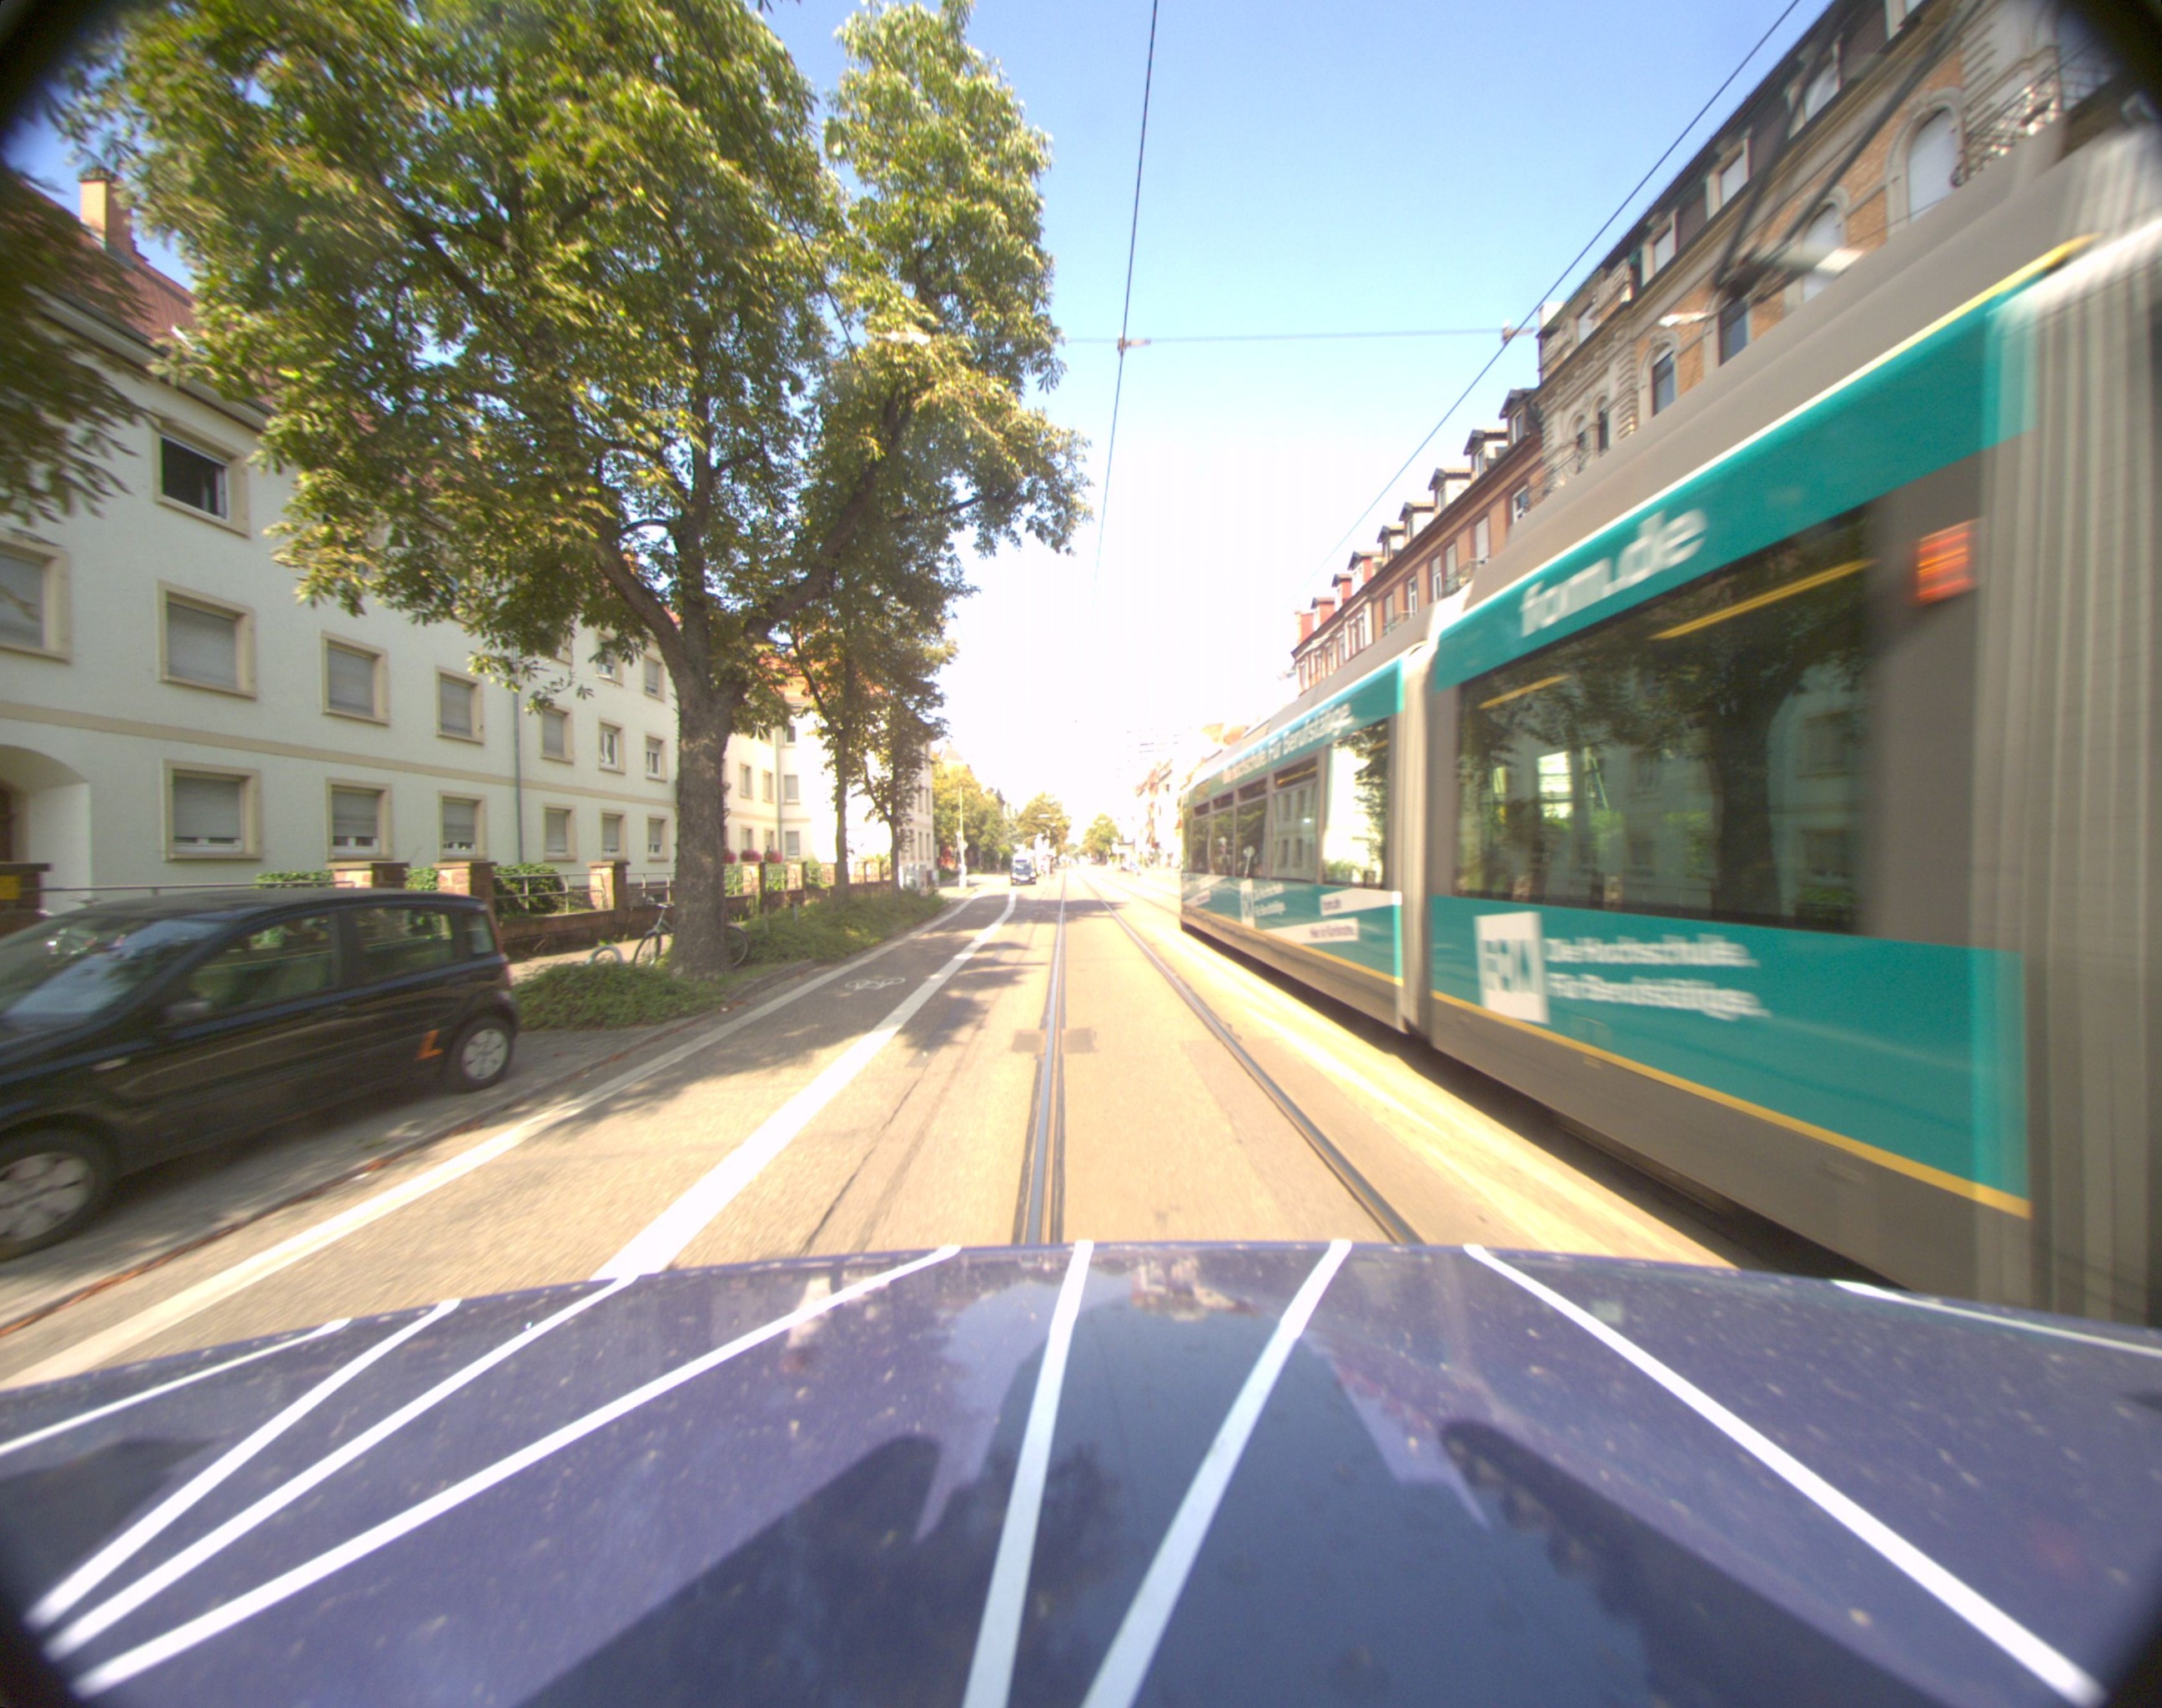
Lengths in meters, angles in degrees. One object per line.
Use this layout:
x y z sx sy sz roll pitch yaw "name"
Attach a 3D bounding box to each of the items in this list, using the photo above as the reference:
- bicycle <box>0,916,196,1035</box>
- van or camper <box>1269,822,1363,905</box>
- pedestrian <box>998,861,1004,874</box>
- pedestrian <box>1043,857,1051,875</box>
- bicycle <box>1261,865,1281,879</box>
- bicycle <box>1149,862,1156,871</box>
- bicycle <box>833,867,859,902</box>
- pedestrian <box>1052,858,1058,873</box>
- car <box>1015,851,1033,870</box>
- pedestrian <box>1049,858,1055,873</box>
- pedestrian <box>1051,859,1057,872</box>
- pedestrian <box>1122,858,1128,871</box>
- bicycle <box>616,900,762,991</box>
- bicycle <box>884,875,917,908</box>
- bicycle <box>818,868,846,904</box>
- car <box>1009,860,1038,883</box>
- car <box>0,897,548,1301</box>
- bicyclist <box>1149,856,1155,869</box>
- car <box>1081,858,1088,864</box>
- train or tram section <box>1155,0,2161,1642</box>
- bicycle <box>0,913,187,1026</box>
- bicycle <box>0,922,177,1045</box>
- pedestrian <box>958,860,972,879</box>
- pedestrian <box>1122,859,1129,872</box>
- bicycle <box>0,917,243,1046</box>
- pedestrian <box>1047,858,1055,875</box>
-11.166 1.304 8.471 0.525 1.067 1.728 -2 0 0 "bicycle"
8.261 0.304 27.374 2.054 2.629 6.092 -1 0 6 "van or camper"
-11.110 1.853 105.318 0.543 1.707 0.662 -2 0 15 "pedestrian"
-3.386 1.224 75.283 0.691 1.756 0.796 -2 0 -2 "pedestrian"
12.413 1.159 49.643 0.526 0.855 1.832 -2 0 37 "bicycle"
9.501 1.626 101.073 0.686 1.097 2.069 -2 0 1 "bicycle"
-10.142 1.287 32.854 0.455 1.446 1.740 -3 0 3 "bicycle"
-3.075 1.362 88.776 0.590 1.711 0.607 -2 0 1 "pedestrian"
-7.279 0.866 96.945 2.088 2.264 4.826 -2 0 -3 "car"
-3.434 1.371 90.177 0.638 1.737 0.634 -2 0 1 "pedestrian"
-3.104 1.357 88.129 0.590 1.535 0.607 -2 0 1 "pedestrian"
5.057 1.228 87.336 0.678 1.448 0.718 -2 0 0 "pedestrian"
-5.483 1.246 10.717 0.524 1.067 1.732 -2 0 41 "bicycle"
-6.641 1.370 28.043 0.774 1.097 2.333 -2 0 -3 "bicycle"
-10.634 1.363 32.469 0.455 1.446 1.740 -3 0 3 "bicycle"
-3.960 1.193 51.959 1.776 1.459 3.998 -3 0 -7 "car"
-5.312 1.126 4.326 1.649 1.531 3.843 0 0 5 "car"
9.480 1.142 101.015 0.675 1.605 1.044 -2 0 1 "bicyclist"
0.833 1.872 201.067 1.733 1.425 3.922 -2 0 0 "car"
3.212 -0.239 8.561 2.742 3.485 15.431 -2 0 -1 "train or tram section"
-11.724 1.300 8.853 0.525 1.067 1.728 -2 0 0 "bicycle"
-10.697 1.320 7.881 0.525 1.067 1.728 -2 0 0 "bicycle"
-10.654 1.389 69.898 1.079 1.714 0.969 1 0 -2 "pedestrian"
5.039 1.250 86.255 0.794 1.448 0.718 -2 0 0 "pedestrian"
-10.088 1.271 8.018 0.525 1.067 1.728 -2 0 0 "bicycle"
-3.129 1.263 78.635 0.769 1.750 0.680 -2 0 -2 "pedestrian"
